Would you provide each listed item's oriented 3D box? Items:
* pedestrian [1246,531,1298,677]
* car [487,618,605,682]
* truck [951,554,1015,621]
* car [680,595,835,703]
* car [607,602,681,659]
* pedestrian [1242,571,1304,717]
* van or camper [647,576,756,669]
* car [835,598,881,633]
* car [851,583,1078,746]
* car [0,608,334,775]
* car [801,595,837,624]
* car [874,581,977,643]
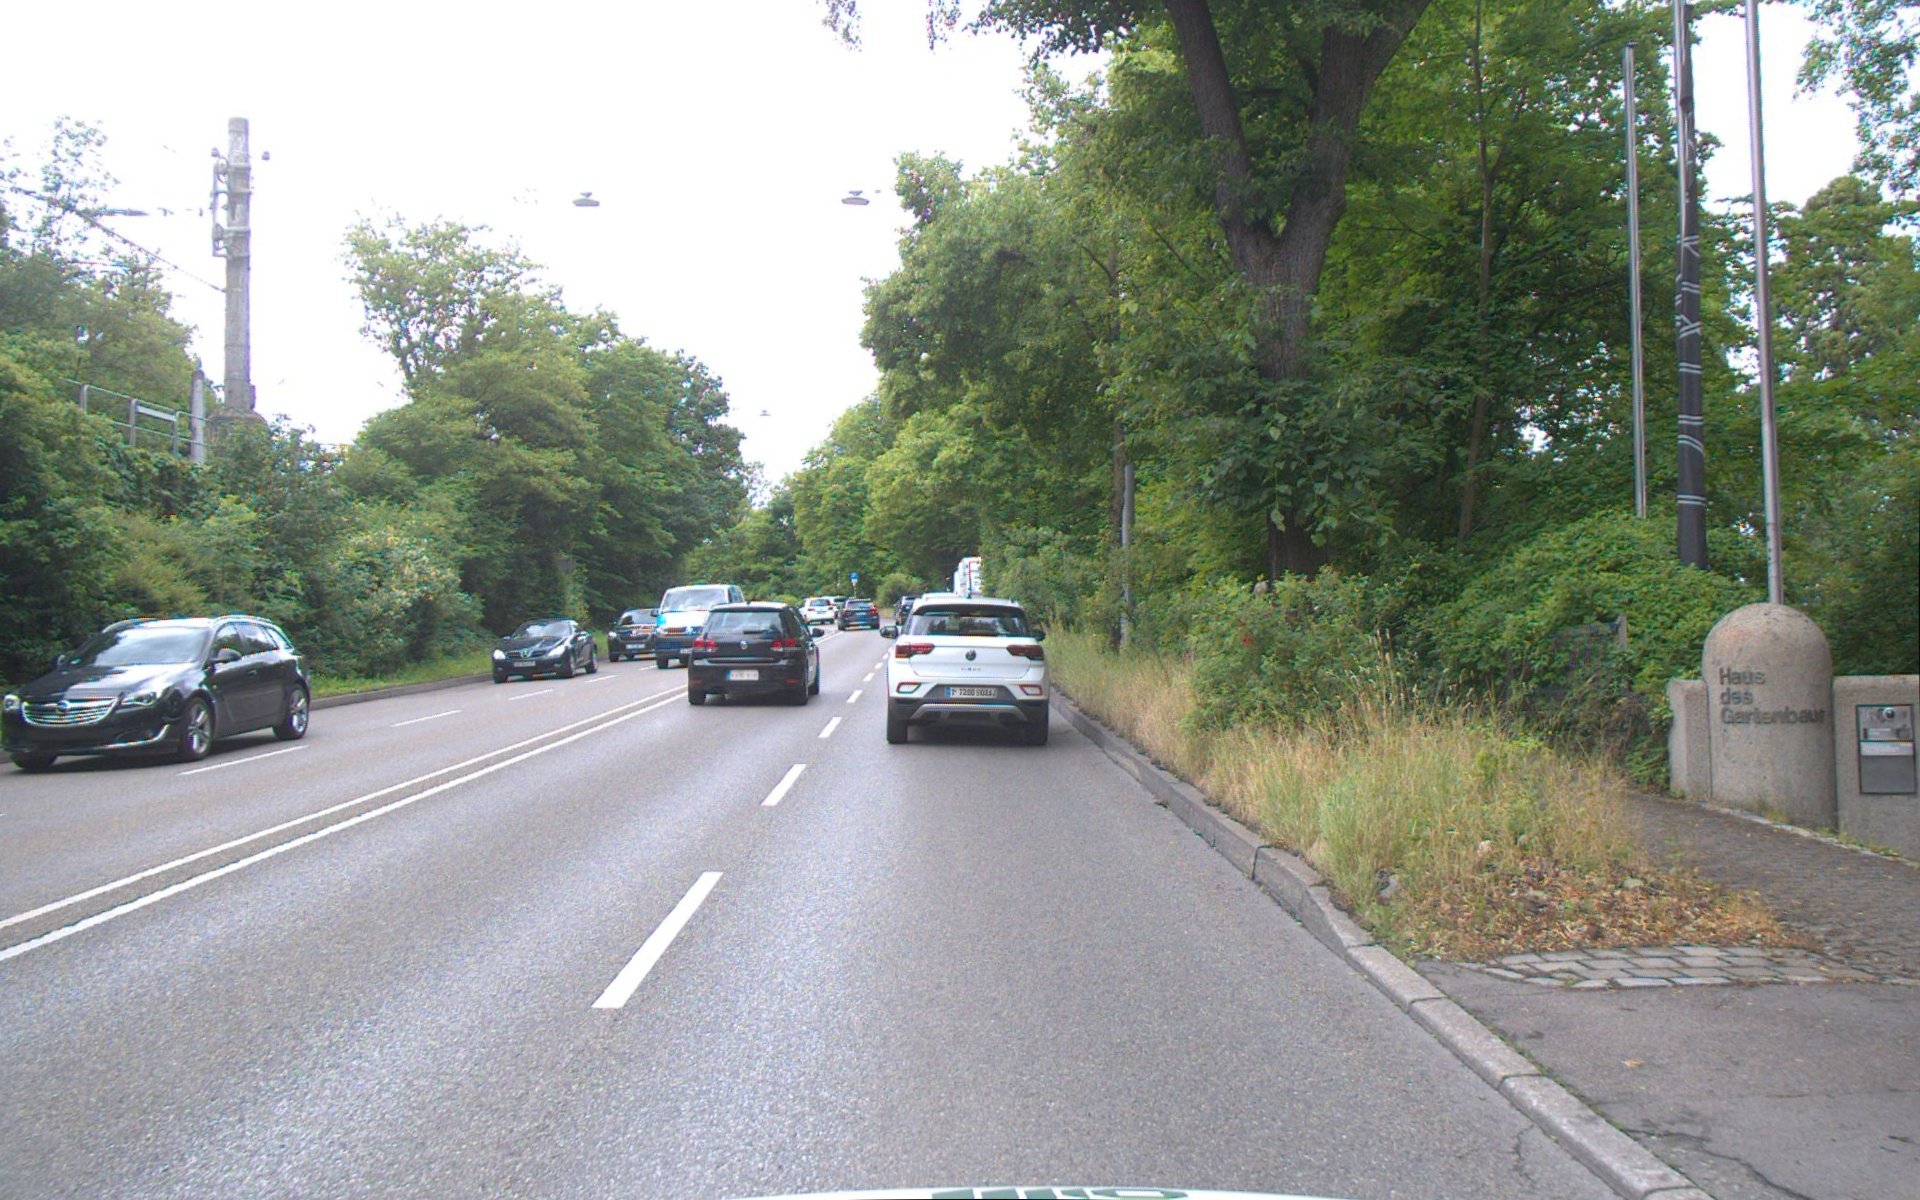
[{"bbox_3d":[3.857,0.051,20.464,0.509,1.784,0.524,1,-1,-4],"label":"pedestrian"},{"bbox_3d":[-9.276,1.091,37.368,1.731,1.333,3.999,1,0,-1],"label":"car"},{"bbox_3d":[1.103,-0.587,85.215,2.434,3.237,7.219,1,-1,-6],"label":"truck"},{"bbox_3d":[-2.968,0.703,25.045,1.910,1.492,3.999,1,-1,-1],"label":"car"},{"bbox_3d":[-9.361,0.892,49.217,1.445,1.624,3.999,1,-1,-1],"label":"car"},{"bbox_3d":[3.757,0.521,19.872,0.597,1.727,0.548,1,-1,-4],"label":"pedestrian"},{"bbox_3d":[-6.401,0.539,41.485,1.954,2.048,5.366,-4,0,-2],"label":"van or camper"},{"bbox_3d":[-4.804,0.735,78.345,1.953,1.620,3.999,1,-1,-1],"label":"car"},{"bbox_3d":[-0.074,0.676,18.814,1.963,1.624,3.992,2,-1,-9],"label":"car"},{"bbox_3d":[-8.716,0.901,18.227,1.875,1.493,4.528,-3,0,-1],"label":"car"},{"bbox_3d":[-8.143,0.565,95.803,1.784,1.651,3.999,1,-1,-1],"label":"car"},{"bbox_3d":[-1.109,0.350,51.022,1.826,1.732,3.973,-3,1,-22],"label":"car"}]
